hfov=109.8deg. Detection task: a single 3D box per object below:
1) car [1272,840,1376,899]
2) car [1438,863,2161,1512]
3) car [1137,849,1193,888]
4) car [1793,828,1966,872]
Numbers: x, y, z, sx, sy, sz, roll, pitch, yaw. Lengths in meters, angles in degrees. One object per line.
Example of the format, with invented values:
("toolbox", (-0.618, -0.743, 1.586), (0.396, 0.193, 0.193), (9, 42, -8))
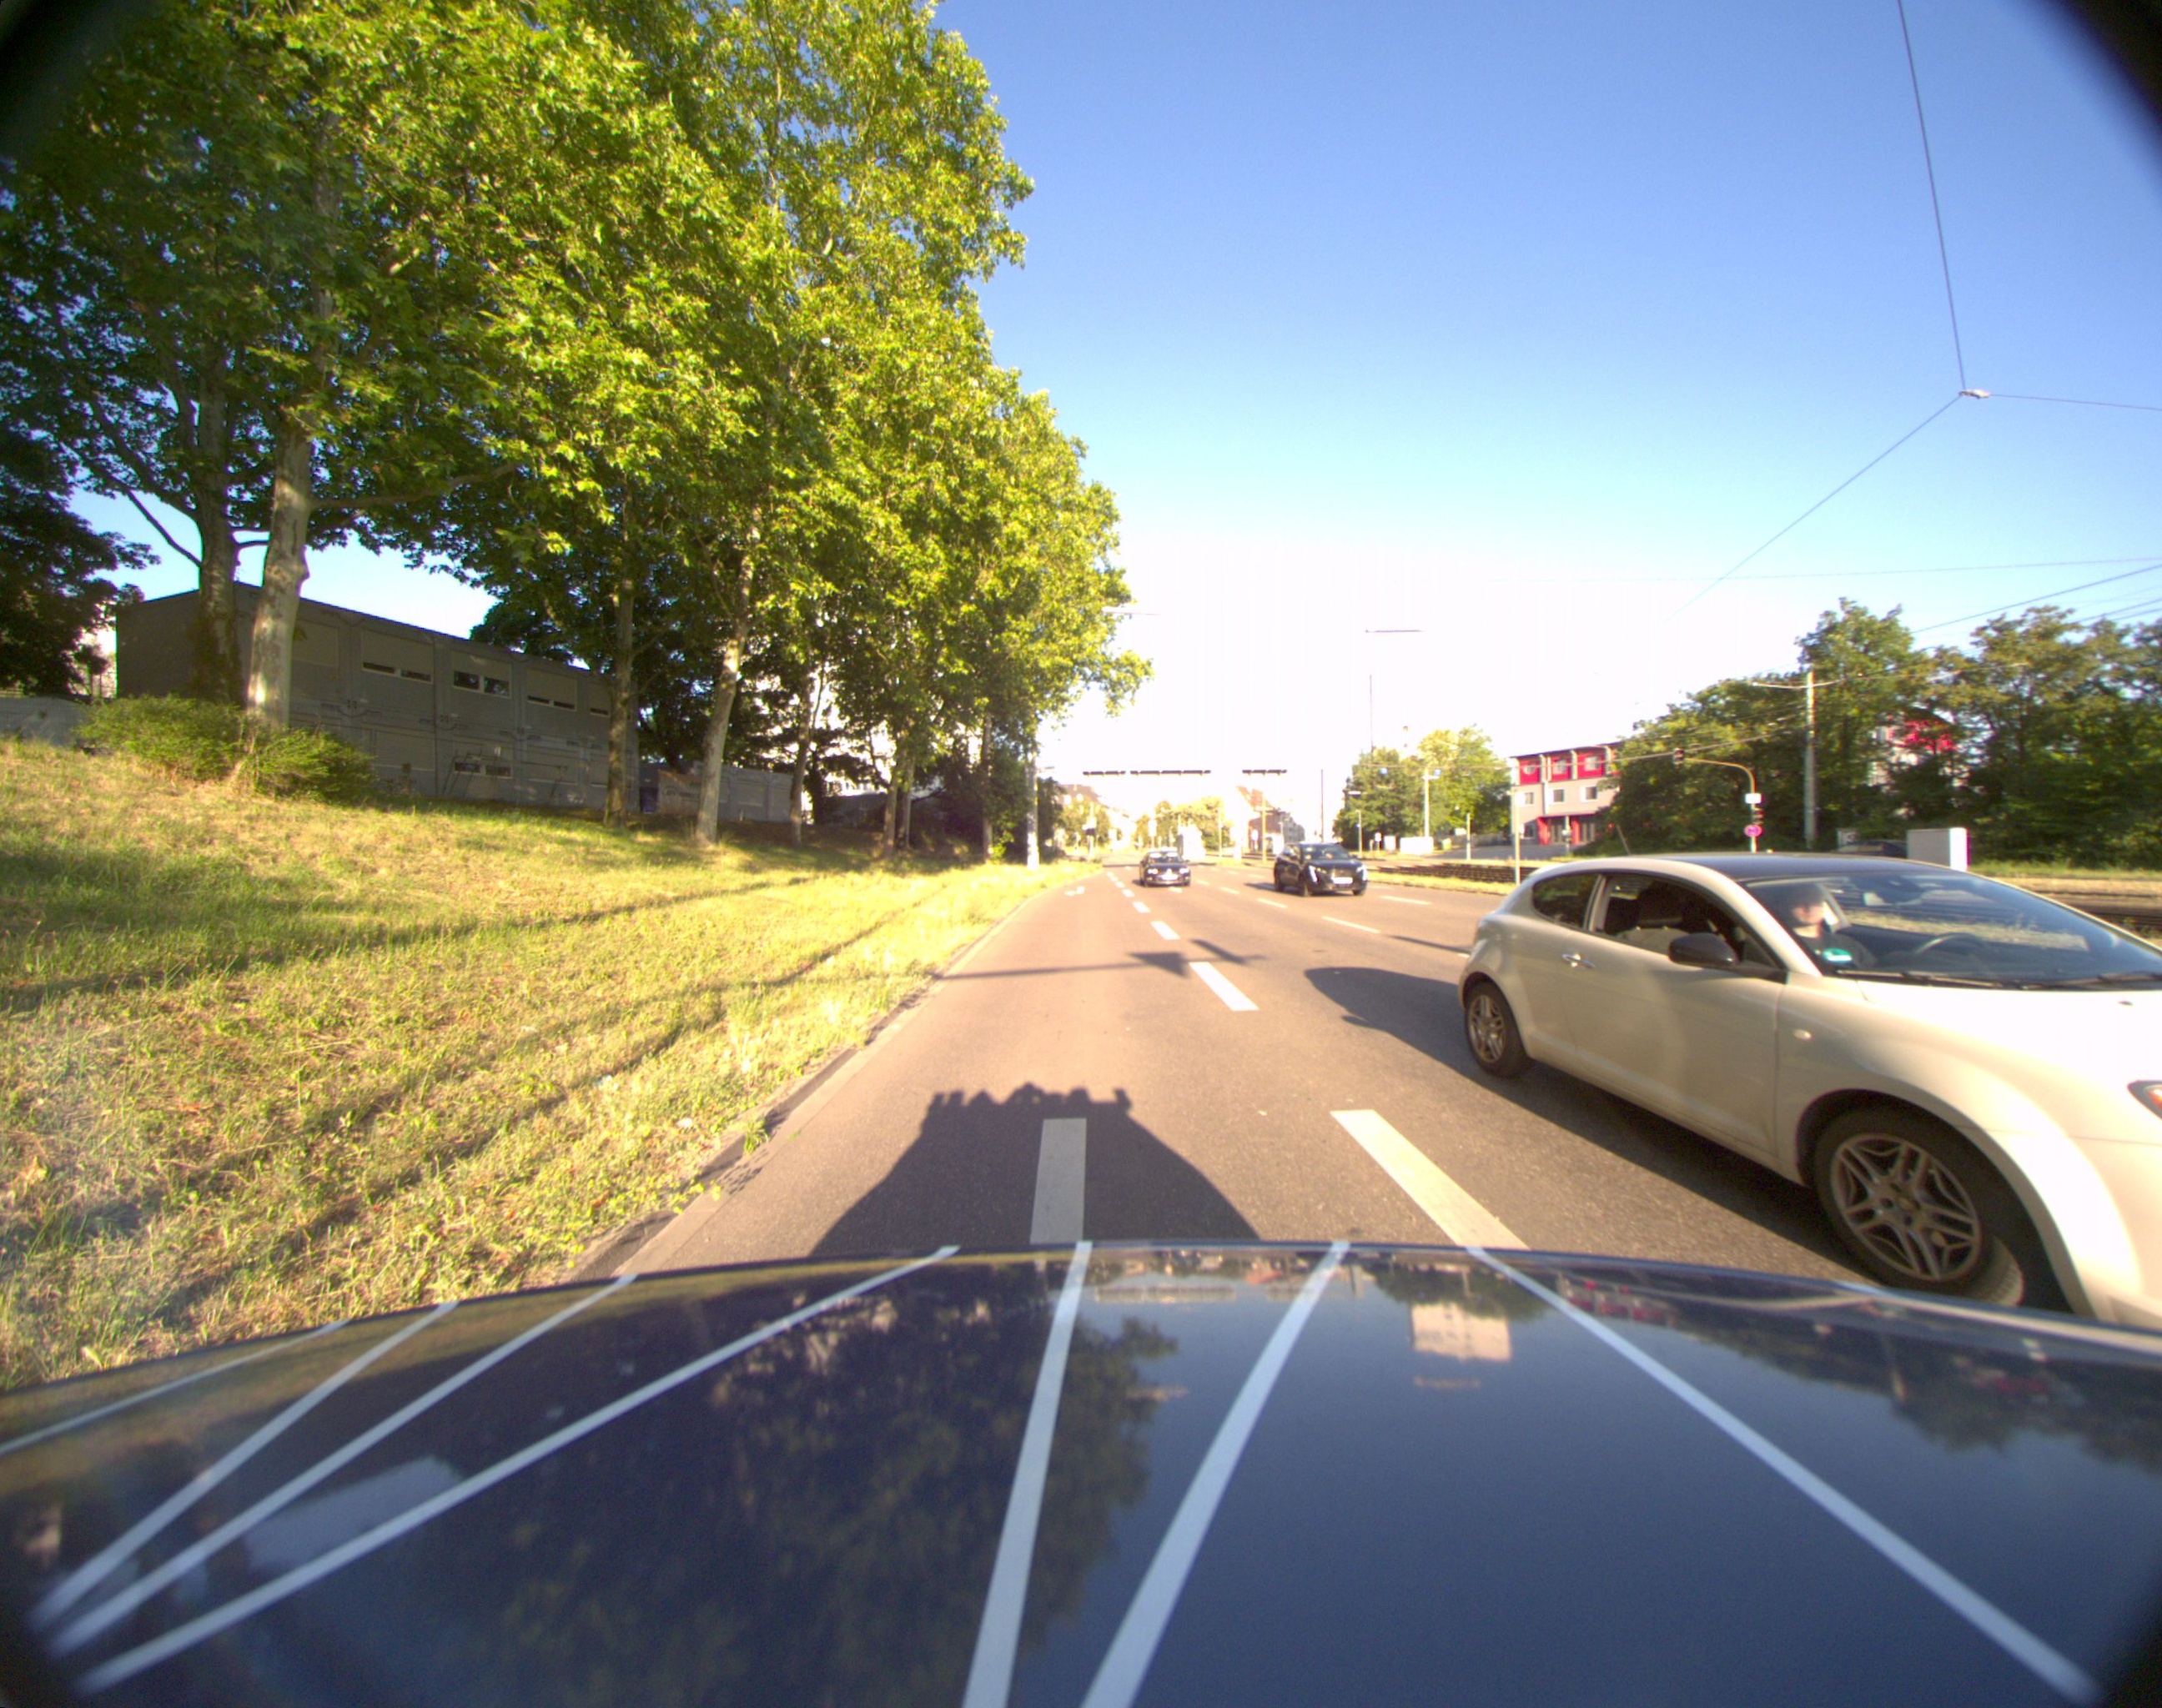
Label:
("car", (7.432, 0.433, 23.698), (1.905, 1.652, 4.276), (-1, 0, 0))
("car", (3.451, 0.825, 3.460), (1.741, 1.496, 3.999), (-1, 0, -1))
("car", (3.334, 0.548, 30.651), (1.741, 1.429, 3.999), (-2, 1, -1))
("car", (32.901, -0.162, 31.538), (1.754, 1.669, 4.752), (-2, 0, -10))
